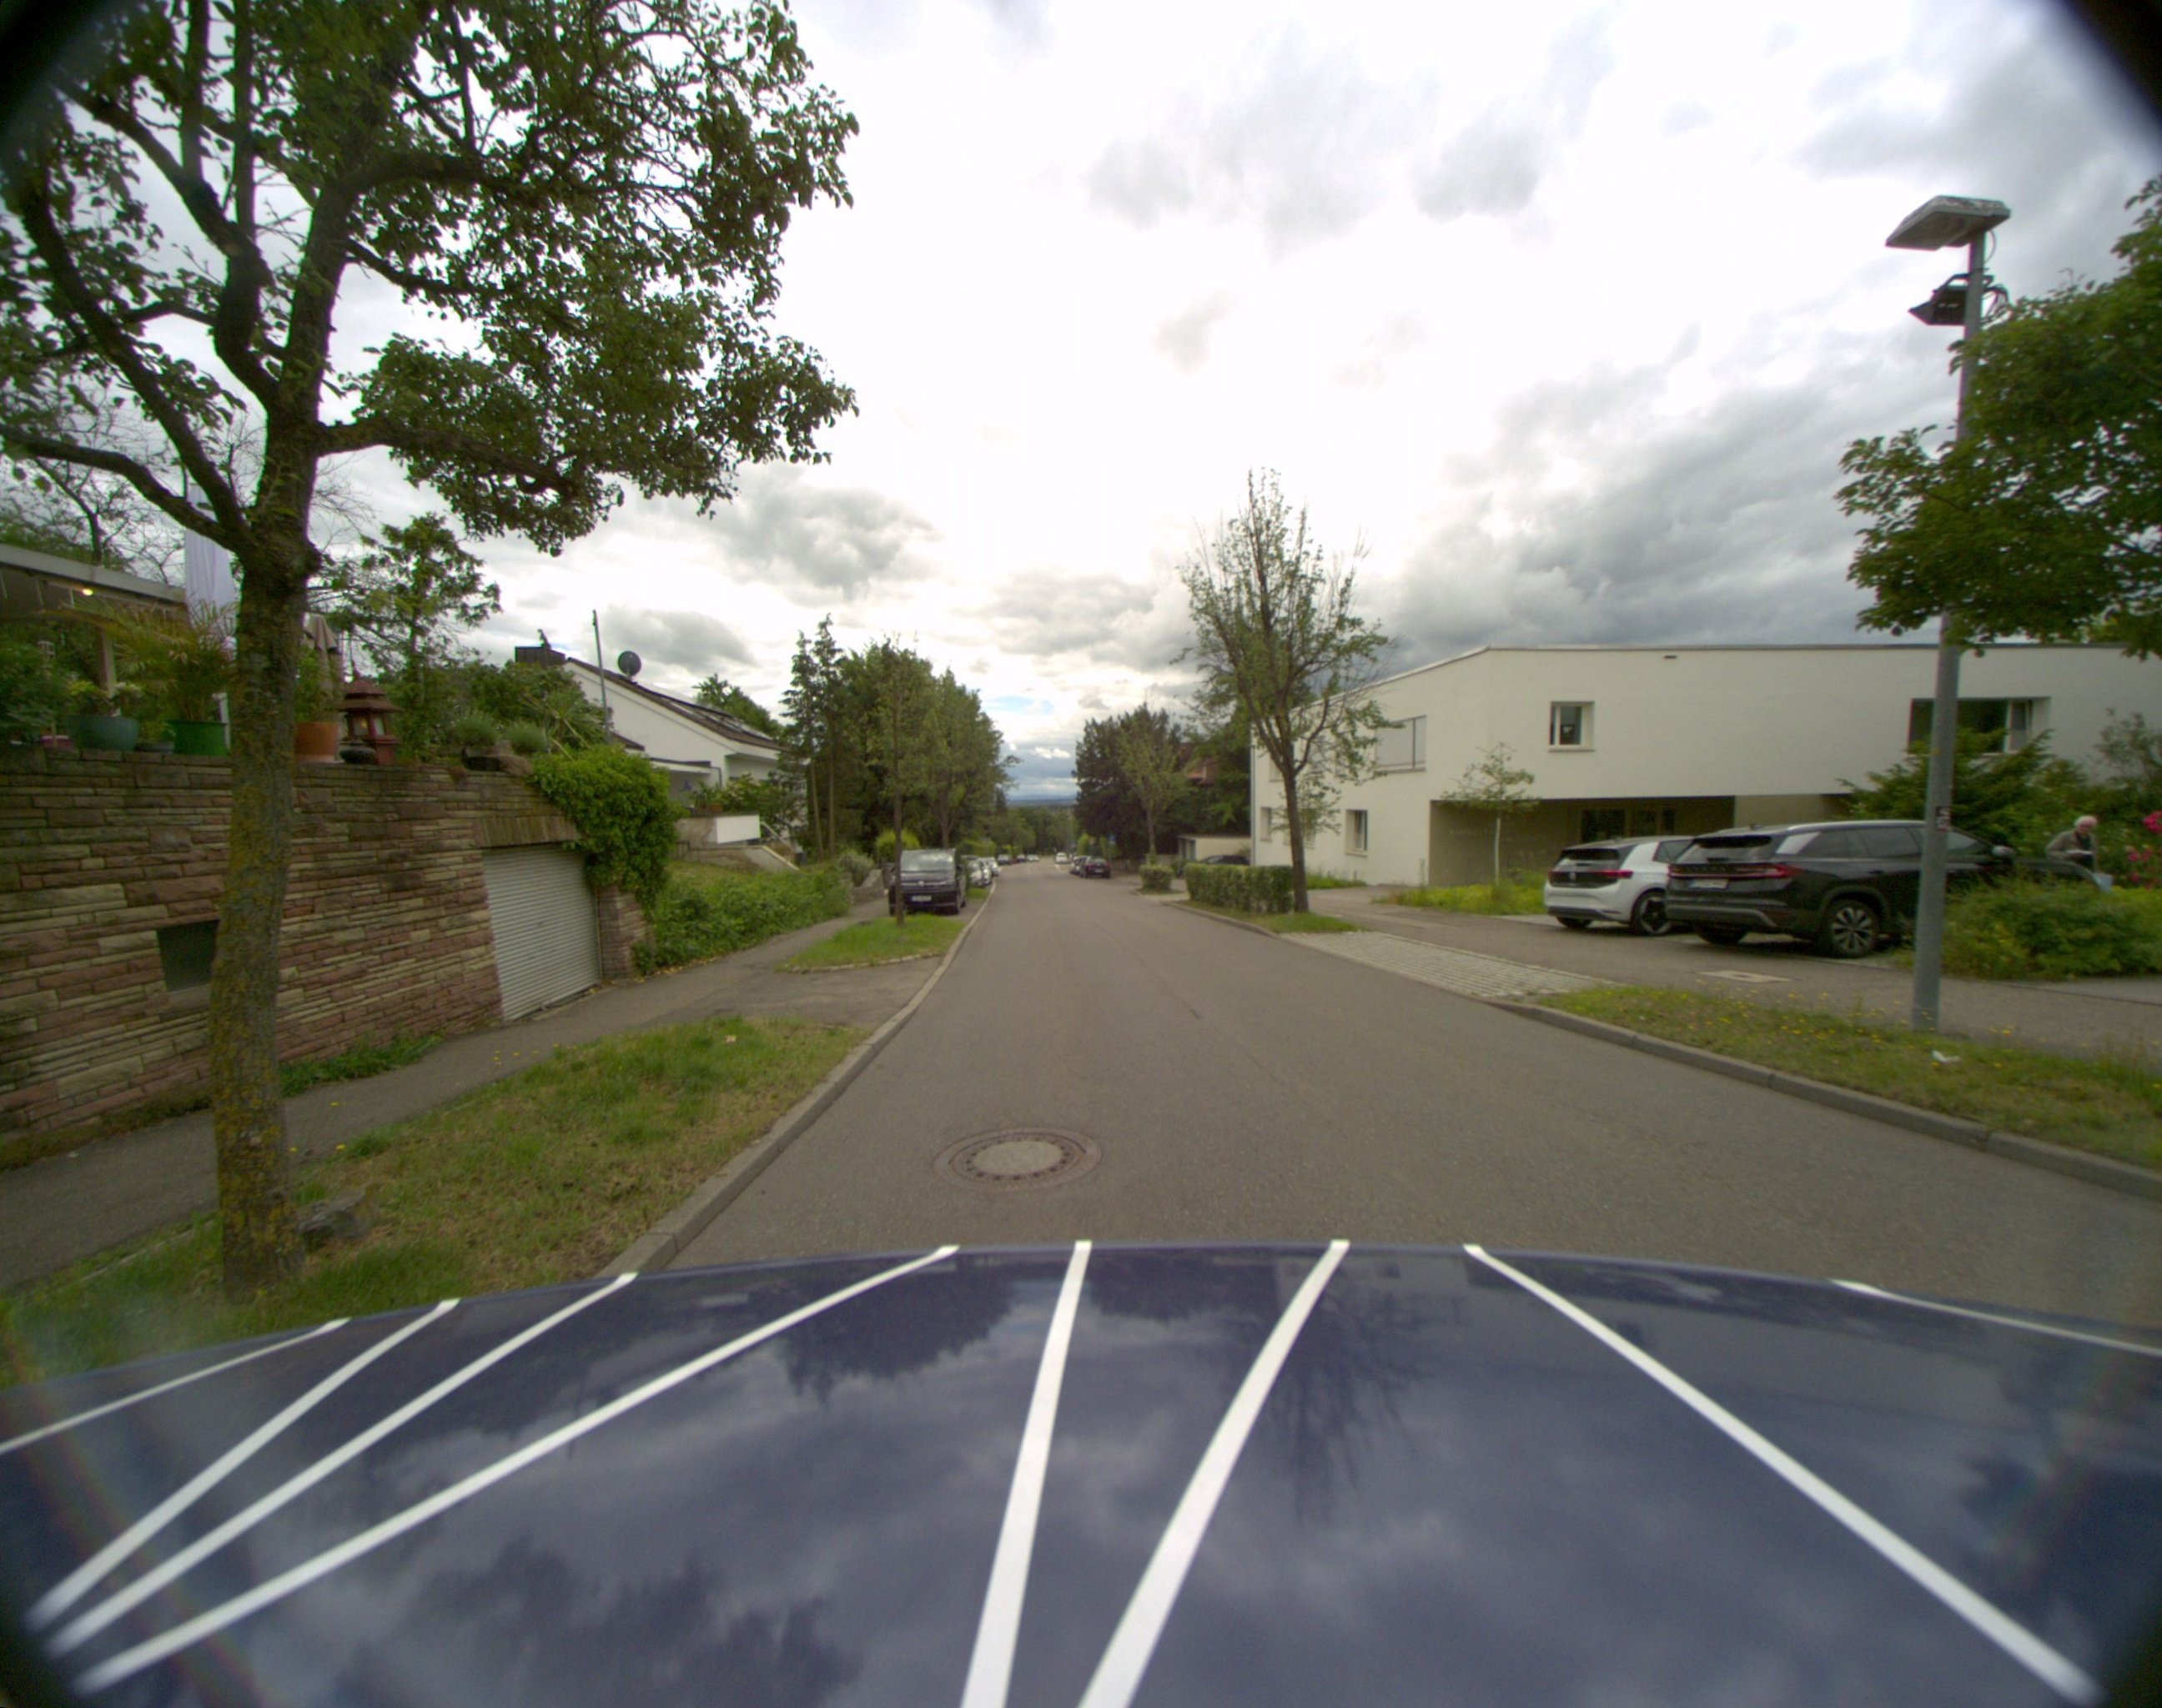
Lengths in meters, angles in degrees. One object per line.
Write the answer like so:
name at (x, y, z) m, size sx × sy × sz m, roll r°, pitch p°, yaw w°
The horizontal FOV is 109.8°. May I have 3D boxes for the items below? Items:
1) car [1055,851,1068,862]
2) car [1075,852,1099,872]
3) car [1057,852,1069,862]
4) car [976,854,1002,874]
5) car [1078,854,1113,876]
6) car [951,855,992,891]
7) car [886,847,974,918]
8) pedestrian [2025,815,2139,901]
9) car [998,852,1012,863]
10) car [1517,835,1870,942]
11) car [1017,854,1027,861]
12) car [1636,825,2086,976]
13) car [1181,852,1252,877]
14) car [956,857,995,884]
car at (-2.972, 0.345, 114.939) m, size 1.787 × 1.481 × 4.737 m, roll 2°, pitch 1°, yaw -2°
car at (0.443, 0.644, 61.259) m, size 1.629 × 1.510 × 2.973 m, roll -1°, pitch 1°, yaw -6°
car at (-2.648, 0.423, 109.692) m, size 1.694 × 1.411 × 3.579 m, roll 1°, pitch 0°, yaw -1°
car at (-8.008, 0.827, 65.533) m, size 2.007 × 1.599 × 4.754 m, roll 0°, pitch 0°, yaw -10°
car at (0.995, 0.737, 53.244) m, size 1.856 × 1.461 × 4.680 m, roll -1°, pitch 0°, yaw -6°
car at (-5.482, 0.908, 38.353) m, size 1.722 × 1.623 × 3.926 m, roll -3°, pitch 1°, yaw -5°
car at (-4.353, 0.731, 22.670) m, size 1.942 × 1.827 × 5.216 m, roll -1°, pitch 0°, yaw -5°
pedestrian at (15.807, 0.054, 12.019) m, size 0.609 × 1.276 × 0.899 m, roll -3°, pitch 1°, yaw -5°
car at (-10.791, 0.472, 108.114) m, size 1.795 × 1.480 × 4.378 m, roll 0°, pitch 0°, yaw -2°
car at (9.983, 0.509, 12.608) m, size 4.400 × 1.557 × 2.065 m, roll -1°, pitch 0°, yaw -6°
car at (-12.082, 0.677, 155.737) m, size 1.999 × 1.221 × 3.999 m, roll -1°, pitch 1°, yaw -2°
car at (9.972, 0.528, 9.956) m, size 3.998 × 1.644 × 2.007 m, roll -2°, pitch 1°, yaw -4°
car at (7.893, 0.612, 44.484) m, size 3.804 × 1.346 × 1.741 m, roll -1°, pitch 1°, yaw -1°
car at (-6.216, 0.920, 45.197) m, size 1.999 × 1.483 × 5.002 m, roll 0°, pitch 0°, yaw -4°
